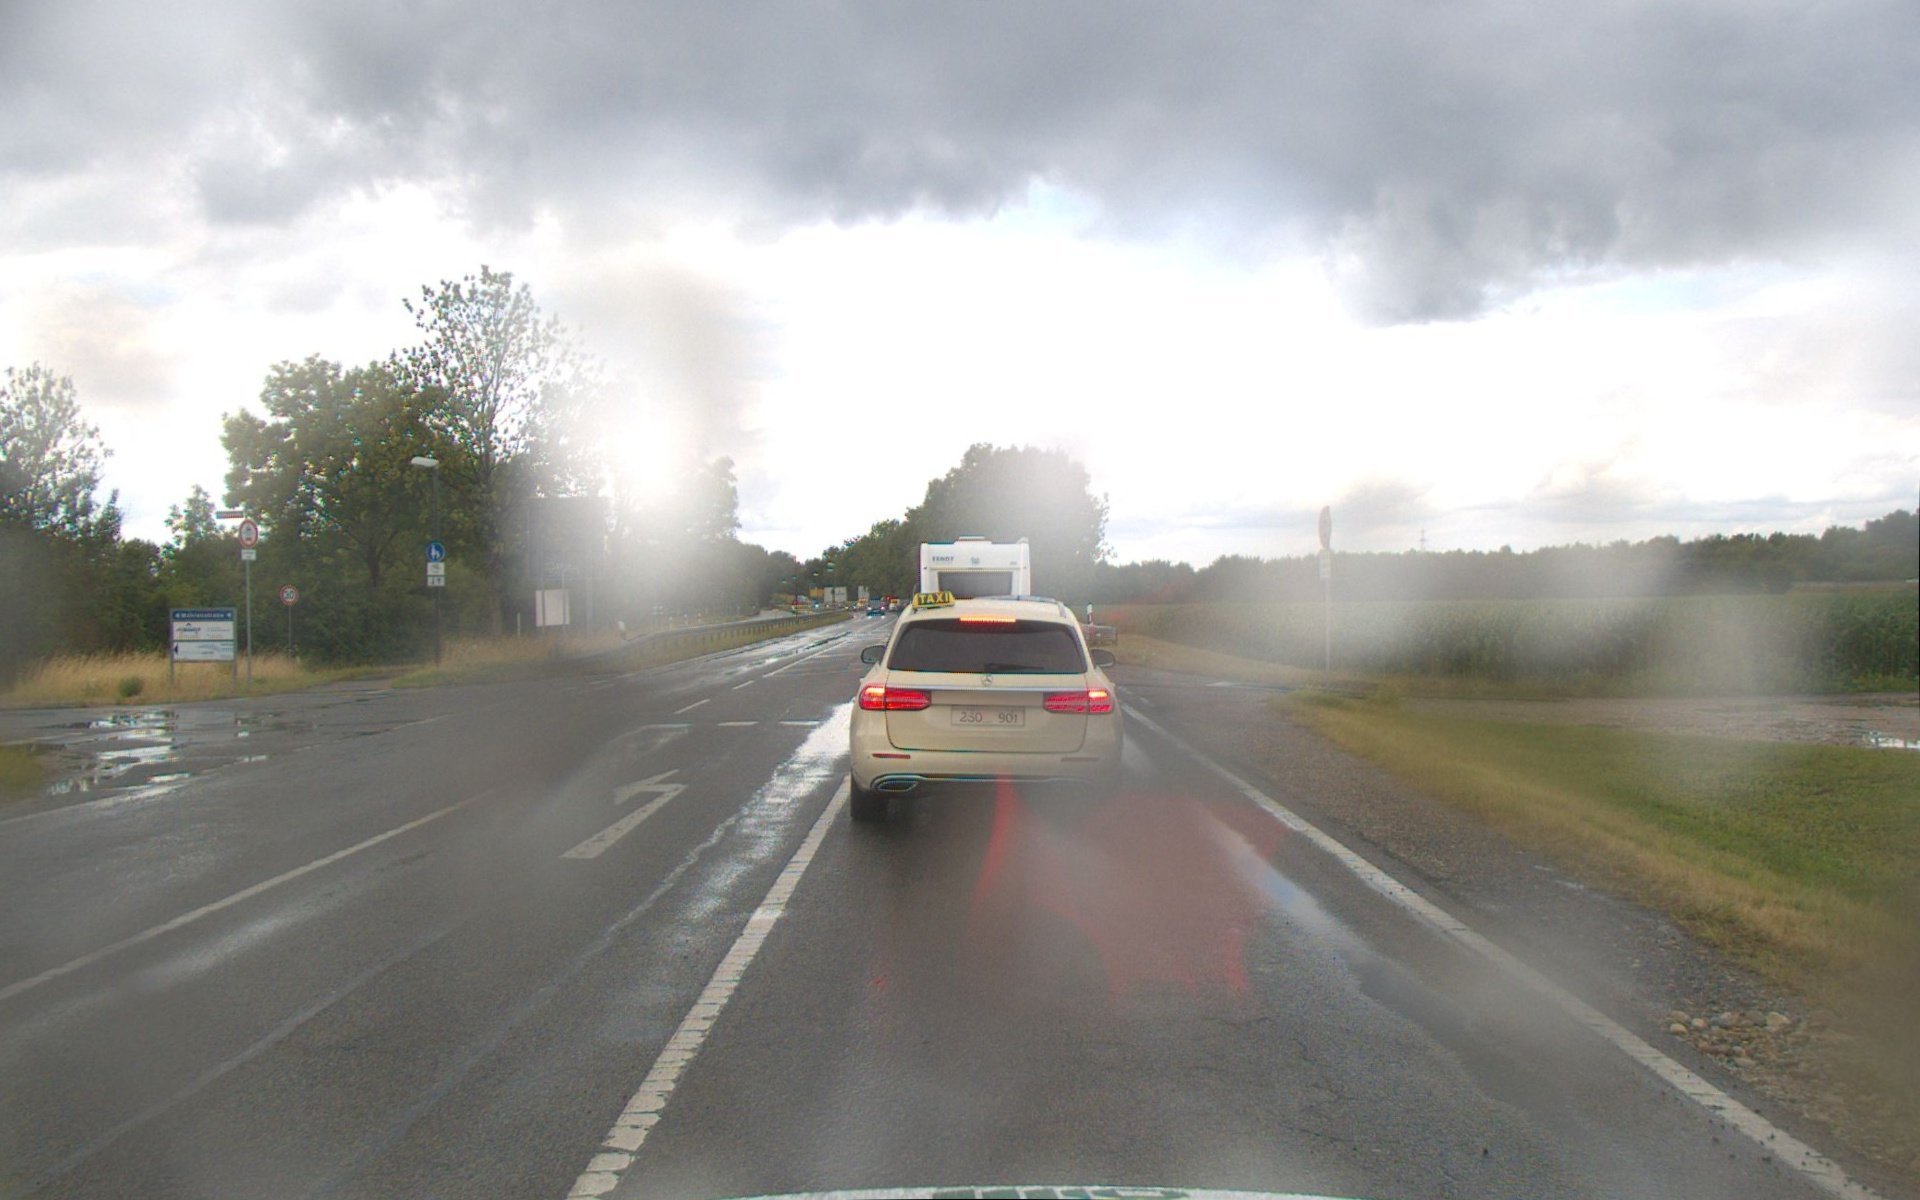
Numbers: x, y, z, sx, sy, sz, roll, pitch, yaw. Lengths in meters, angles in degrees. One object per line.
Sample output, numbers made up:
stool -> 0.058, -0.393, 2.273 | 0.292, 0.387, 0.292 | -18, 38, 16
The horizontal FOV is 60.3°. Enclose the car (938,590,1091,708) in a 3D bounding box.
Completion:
car -> 0.685, 0.648, 23.534 | 1.953, 1.488, 3.999 | 1, 0, -1

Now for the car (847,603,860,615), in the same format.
car -> -14.399, 1.193, 223.392 | 1.548, 1.668, 3.441 | -1, 0, -1

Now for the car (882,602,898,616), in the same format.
car -> -8.614, 1.149, 203.743 | 1.715, 1.691, 3.668 | -1, 0, -5

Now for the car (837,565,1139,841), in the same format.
car -> 0.142, 0.629, 11.956 | 1.805, 1.646, 3.999 | 1, 0, -1

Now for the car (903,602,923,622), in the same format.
car -> -4.329, 1.143, 153.161 | 1.841, 1.792, 3.833 | -1, 0, -1

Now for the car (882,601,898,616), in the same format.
car -> -9.029, 1.069, 212.989 | 1.858, 1.928, 3.840 | -1, 0, -4

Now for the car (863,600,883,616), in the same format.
car -> -8.803, 0.818, 167.887 | 1.791, 1.601, 3.999 | 1, 0, 0

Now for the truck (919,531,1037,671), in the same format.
truck -> 0.317, 0.019, 36.765 | 2.315, 2.776, 7.313 | -1, 0, -1

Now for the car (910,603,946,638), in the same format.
car -> -1.745, 1.097, 90.654 | 1.876, 1.873, 3.795 | -1, 0, 0

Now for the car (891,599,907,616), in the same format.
car -> -6.960, 0.857, 189.735 | 1.705, 1.892, 3.784 | -1, 0, -1

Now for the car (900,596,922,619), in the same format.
car -> -3.993, 0.634, 135.366 | 1.755, 1.808, 3.720 | -1, 0, -1
